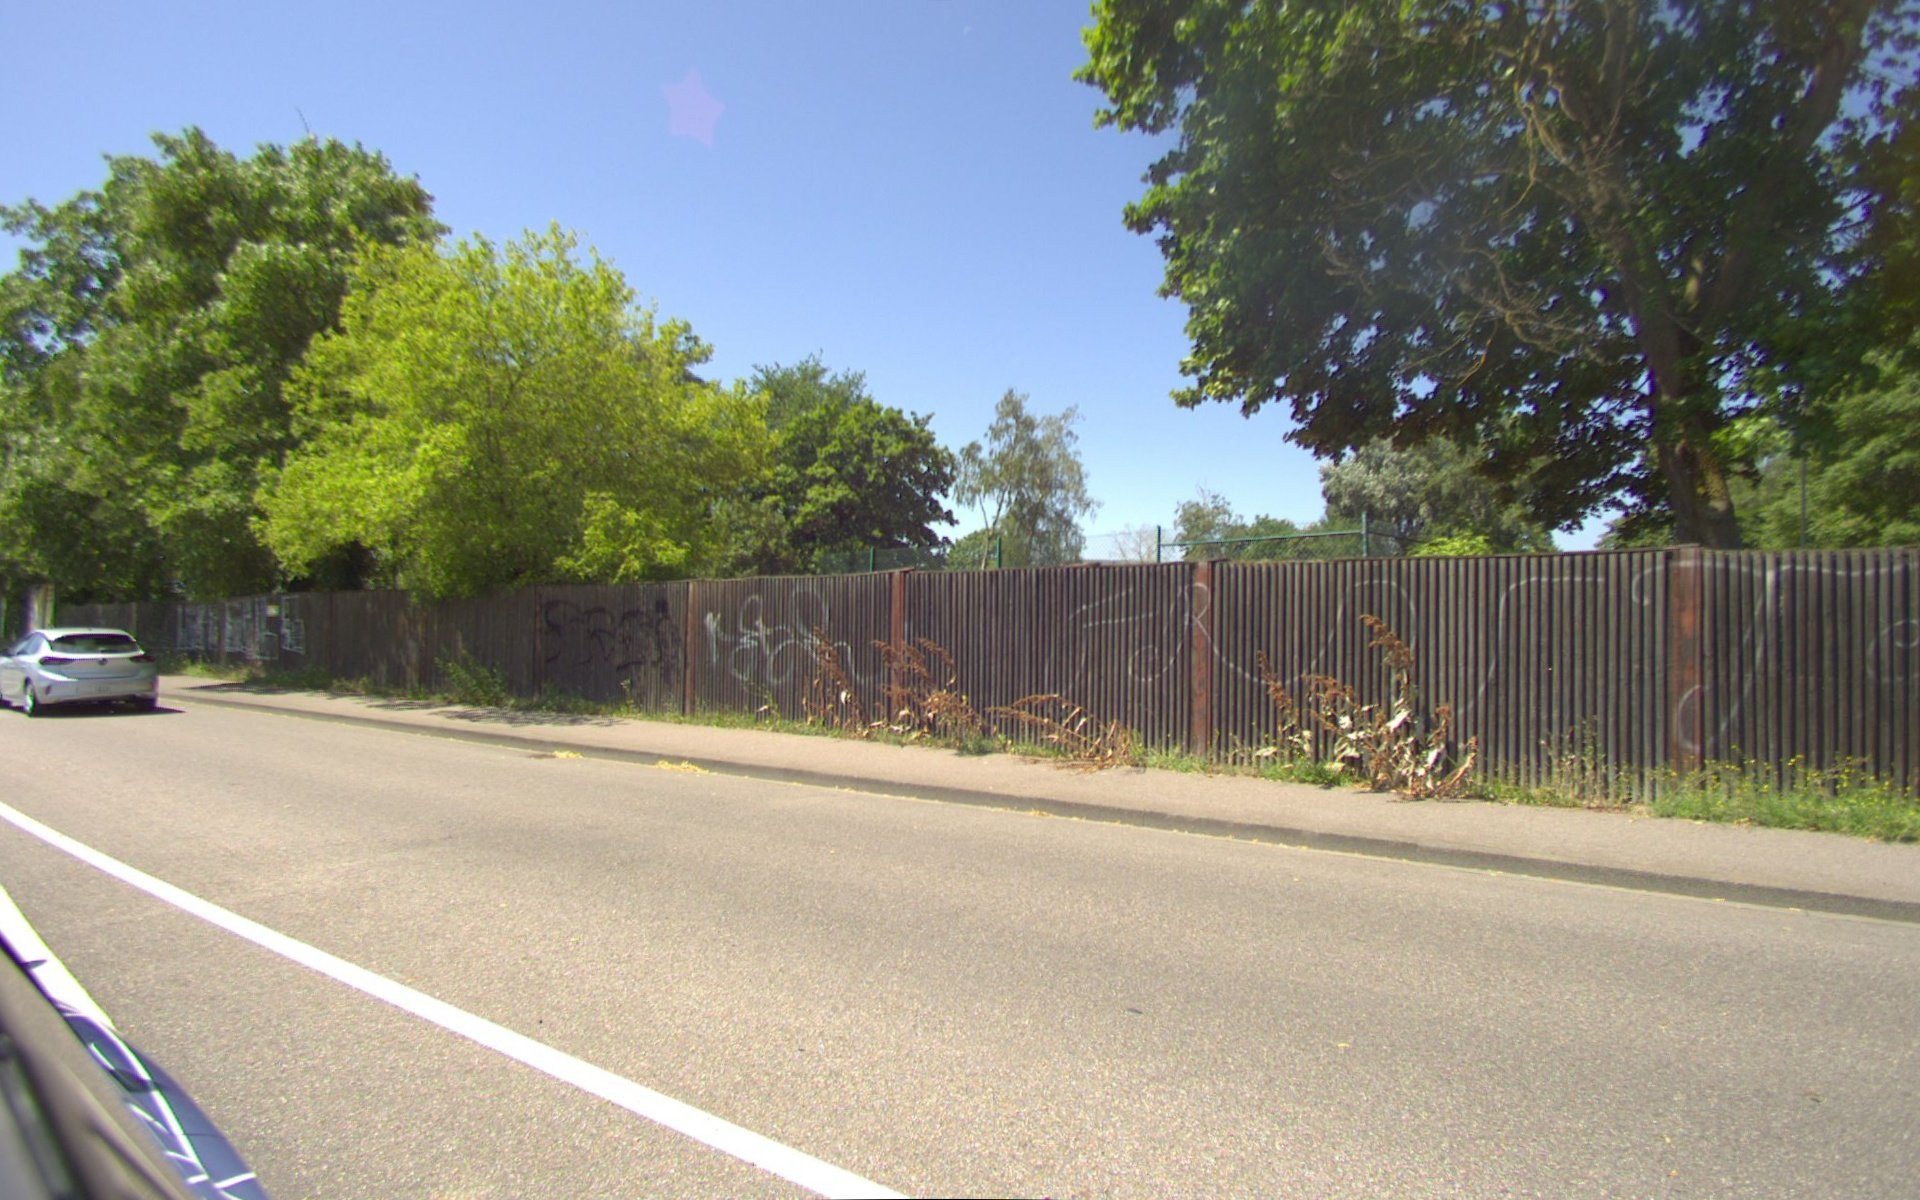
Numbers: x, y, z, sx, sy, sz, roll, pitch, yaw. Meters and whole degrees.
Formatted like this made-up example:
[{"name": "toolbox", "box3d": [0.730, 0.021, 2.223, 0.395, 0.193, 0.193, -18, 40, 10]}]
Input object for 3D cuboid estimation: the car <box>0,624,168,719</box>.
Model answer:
[{"name": "car", "box3d": [-15.561, 1.188, 17.643, 3.834, 1.475, 1.699, -1, -3, 35]}]
